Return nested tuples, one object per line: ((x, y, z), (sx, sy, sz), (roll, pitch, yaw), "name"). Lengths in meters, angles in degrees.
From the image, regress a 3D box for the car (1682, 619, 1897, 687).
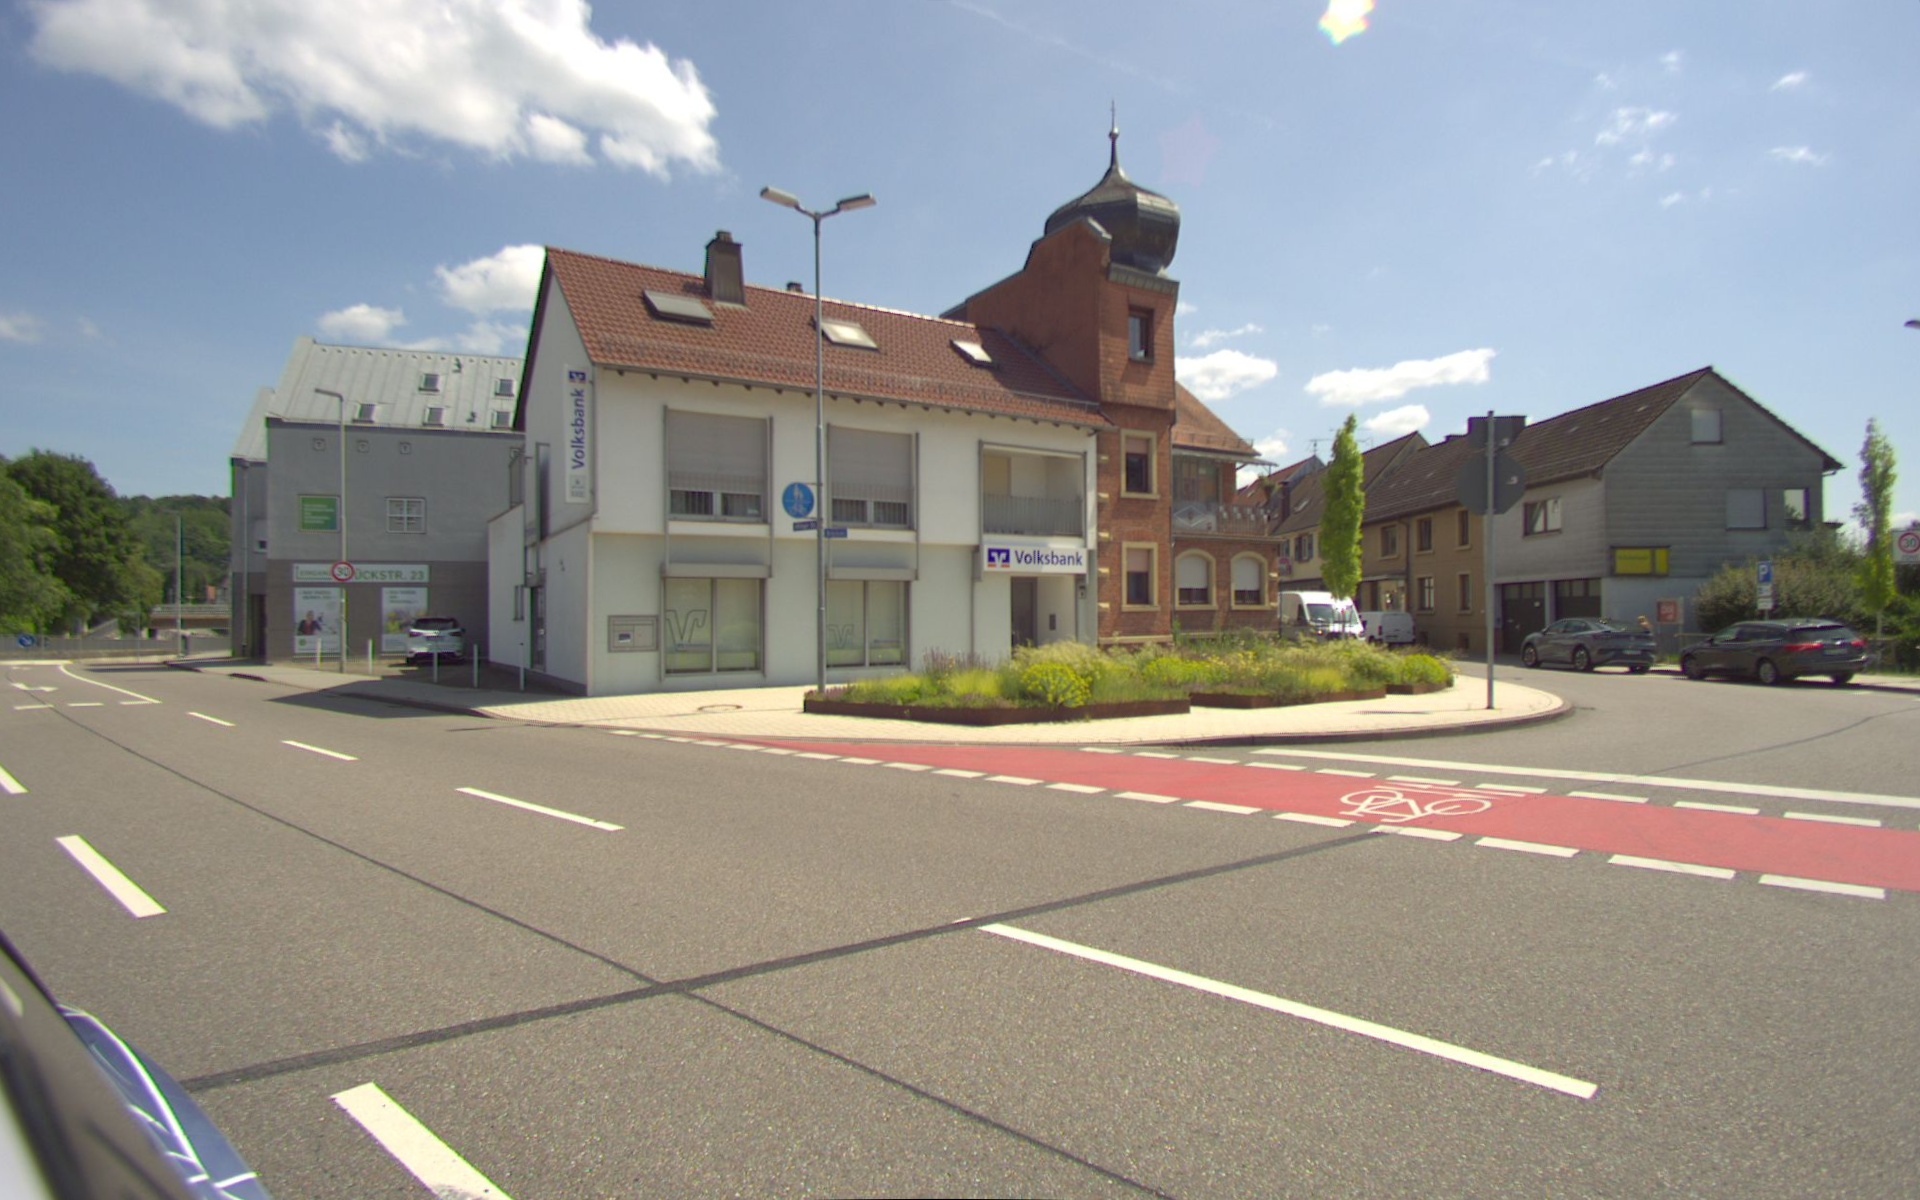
((19.498, 1.199, 24.052), (1.836, 1.475, 3.997), (-1, -1, 2), "car")

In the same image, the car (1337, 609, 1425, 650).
((19.218, 1.336, 46.377), (2.037, 1.741, 4.005), (1, -1, -6), "car")

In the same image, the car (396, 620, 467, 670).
((-18.030, 1.522, 34.682), (1.965, 1.587, 4.266), (1, -2, -25), "car")

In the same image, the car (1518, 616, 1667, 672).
((18.816, 1.277, 30.346), (1.763, 1.559, 4.233), (1, -1, 0), "car")

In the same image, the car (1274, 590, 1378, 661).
((12.990, 0.904, 36.269), (2.145, 2.363, 5.106), (1, -1, 4), "car")
